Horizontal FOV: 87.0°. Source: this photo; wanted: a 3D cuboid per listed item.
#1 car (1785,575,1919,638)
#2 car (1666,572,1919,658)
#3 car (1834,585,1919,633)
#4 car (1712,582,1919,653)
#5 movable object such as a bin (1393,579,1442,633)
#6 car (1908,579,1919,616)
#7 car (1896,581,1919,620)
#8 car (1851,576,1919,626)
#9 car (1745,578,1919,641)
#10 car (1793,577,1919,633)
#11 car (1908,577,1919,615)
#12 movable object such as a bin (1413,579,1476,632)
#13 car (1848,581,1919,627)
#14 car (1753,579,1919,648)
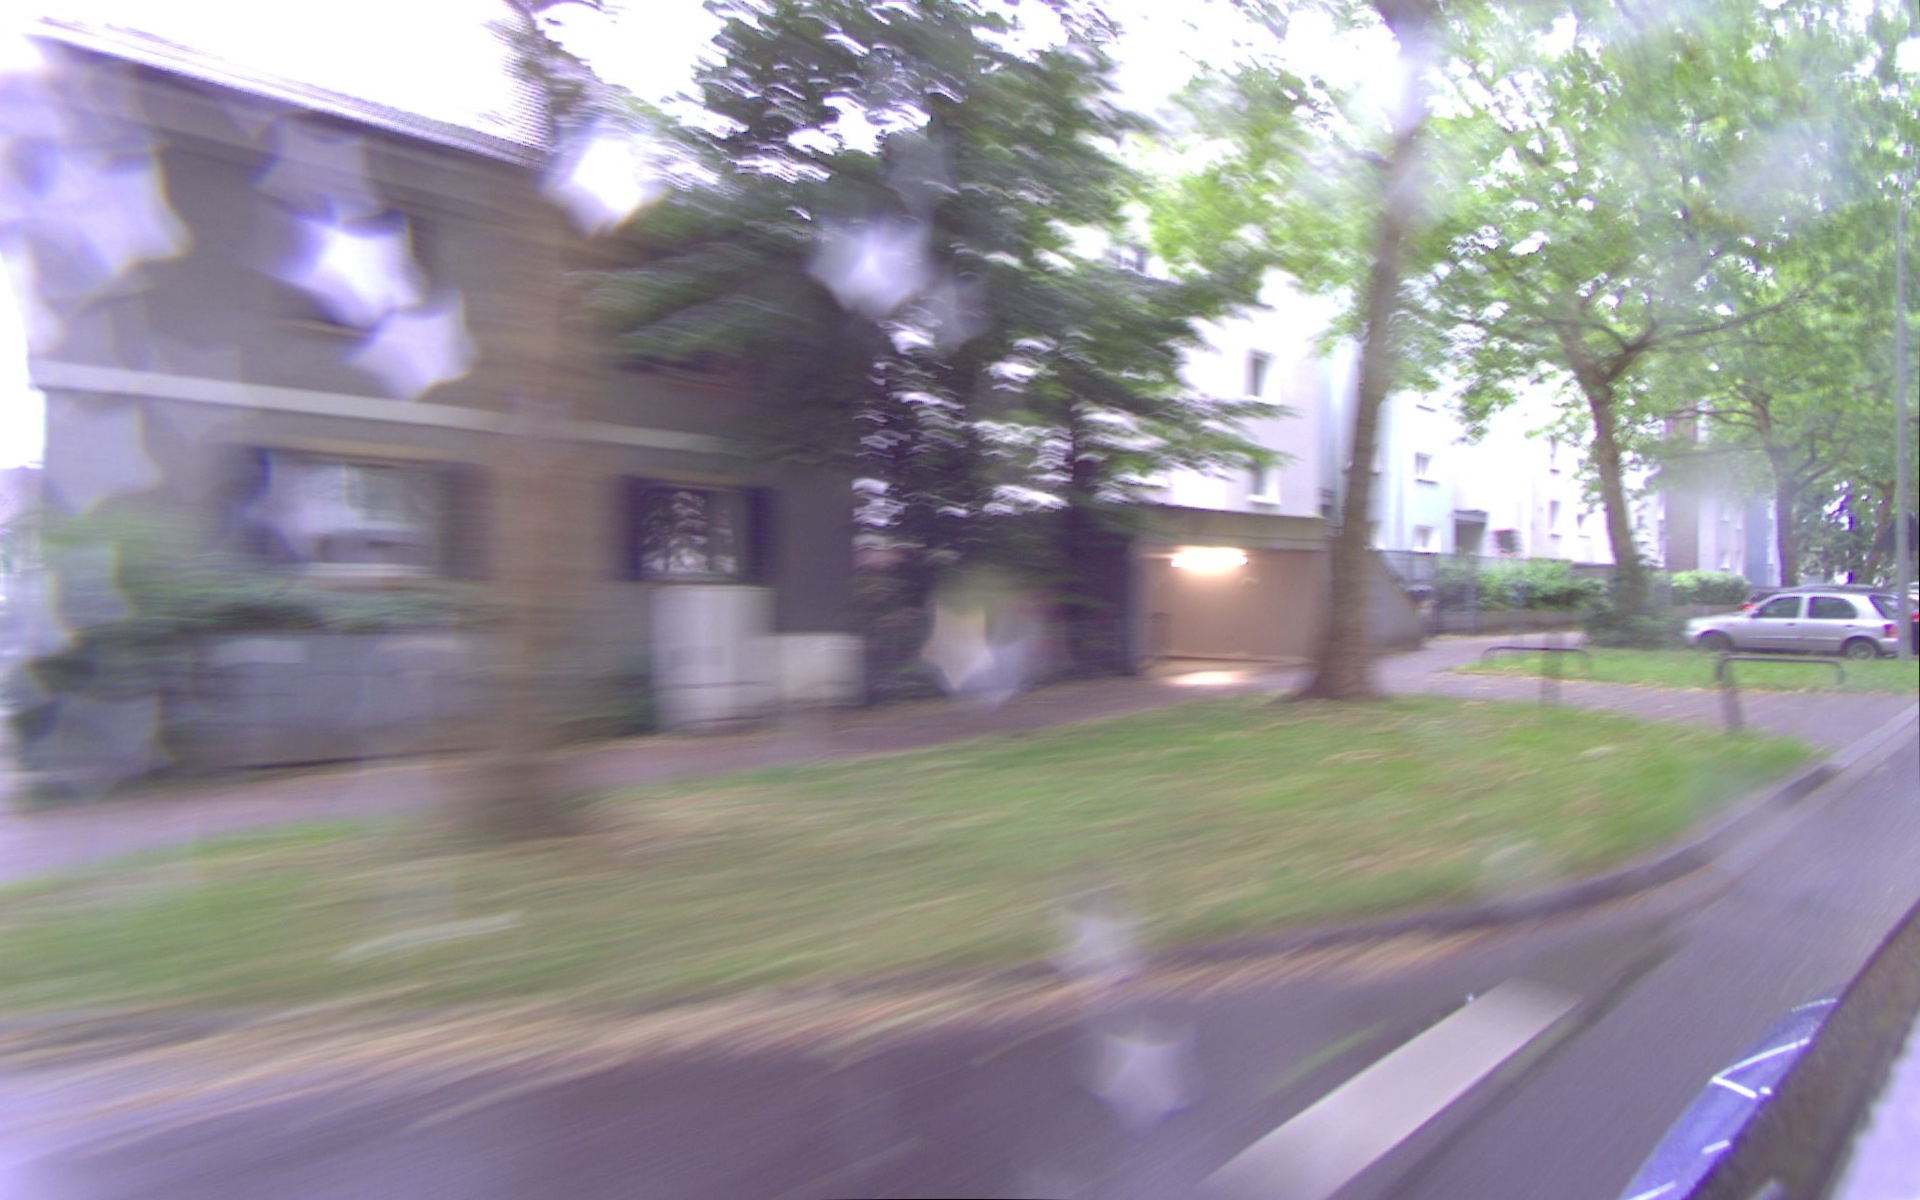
[{"bbox_3d":[26.075,0.178,28.443,1.880,1.677,4.217,0,0,-41],"label":"car"},{"bbox_3d":[17.181,0.259,20.901,1.649,1.598,3.995,0,0,-40],"label":"car"},{"bbox_3d":[29.967,0.281,31.471,1.657,1.459,4.039,0,-1,-43],"label":"car"},{"bbox_3d":[19.193,0.343,22.277,1.649,1.456,3.995,0,0,-40],"label":"car"},{"bbox_3d":[12.721,0.154,28.121,1.094,1.456,0.866,0,0,-40],"label":"movable object such as a bin"},{"bbox_3d":[41.782,-0.081,41.699,1.706,1.555,3.714,0,2,-37],"label":"car"},{"bbox_3d":[39.795,-0.009,39.941,1.770,1.532,3.992,0,-1,-42],"label":"car"},{"bbox_3d":[35.021,0.018,36.296,1.786,1.784,4.345,0,-1,-40],"label":"car"},{"bbox_3d":[23.261,0.235,26.500,1.750,1.549,4.046,0,0,-42],"label":"car"},{"bbox_3d":[27.785,0.136,30.277,1.717,1.604,4.215,0,0,-42],"label":"car"},{"bbox_3d":[45.011,-0.111,44.908,3.823,1.719,1.824,2,0,22],"label":"car"},{"bbox_3d":[13.896,0.143,29.006,1.321,1.456,1.206,0,0,-40],"label":"movable object such as a bin"},{"bbox_3d":[32.947,0.131,34.360,1.602,1.557,3.994,0,-1,-40],"label":"car"},{"bbox_3d":[21.504,0.287,23.896,1.831,1.532,4.109,0,0,-40],"label":"car"}]
